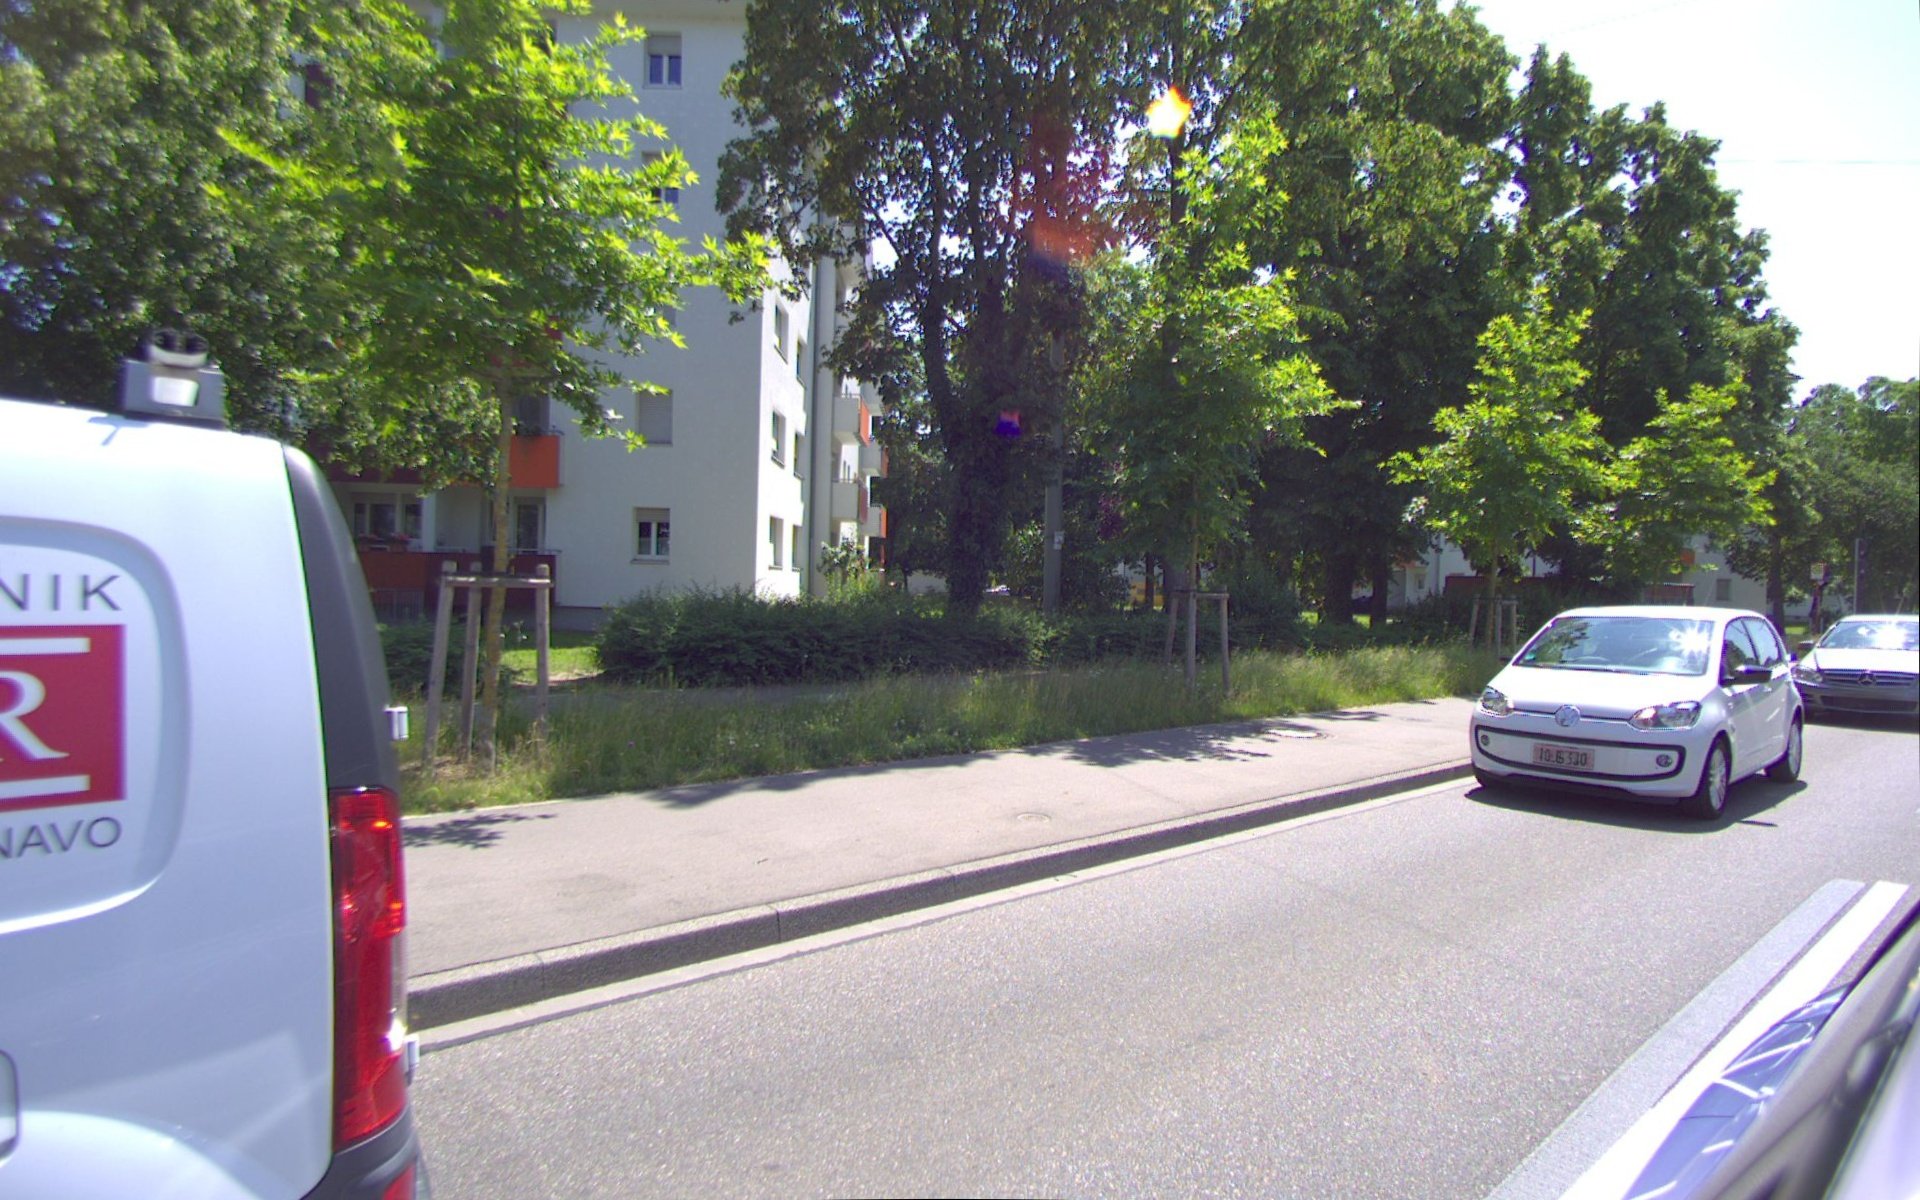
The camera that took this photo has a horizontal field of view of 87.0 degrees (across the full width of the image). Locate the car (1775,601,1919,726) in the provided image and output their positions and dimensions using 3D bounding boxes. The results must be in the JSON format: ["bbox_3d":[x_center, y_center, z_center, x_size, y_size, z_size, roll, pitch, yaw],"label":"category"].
[{"bbox_3d":[12.793,0.773,13.714,3.898,1.478,1.903,0,0,-38],"label":"car"}]

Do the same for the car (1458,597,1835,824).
[{"bbox_3d":[5.851,0.728,8.465,3.786,1.468,1.662,0,0,-40],"label":"car"}]

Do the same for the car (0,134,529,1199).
[{"bbox_3d":[-2.886,0.425,0.763,4.376,1.905,1.828,0,0,-40],"label":"car"}]

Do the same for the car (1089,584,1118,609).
[{"bbox_3d":[10.808,-0.285,76.445,1.842,1.746,3.922,1,1,4],"label":"car"}]
